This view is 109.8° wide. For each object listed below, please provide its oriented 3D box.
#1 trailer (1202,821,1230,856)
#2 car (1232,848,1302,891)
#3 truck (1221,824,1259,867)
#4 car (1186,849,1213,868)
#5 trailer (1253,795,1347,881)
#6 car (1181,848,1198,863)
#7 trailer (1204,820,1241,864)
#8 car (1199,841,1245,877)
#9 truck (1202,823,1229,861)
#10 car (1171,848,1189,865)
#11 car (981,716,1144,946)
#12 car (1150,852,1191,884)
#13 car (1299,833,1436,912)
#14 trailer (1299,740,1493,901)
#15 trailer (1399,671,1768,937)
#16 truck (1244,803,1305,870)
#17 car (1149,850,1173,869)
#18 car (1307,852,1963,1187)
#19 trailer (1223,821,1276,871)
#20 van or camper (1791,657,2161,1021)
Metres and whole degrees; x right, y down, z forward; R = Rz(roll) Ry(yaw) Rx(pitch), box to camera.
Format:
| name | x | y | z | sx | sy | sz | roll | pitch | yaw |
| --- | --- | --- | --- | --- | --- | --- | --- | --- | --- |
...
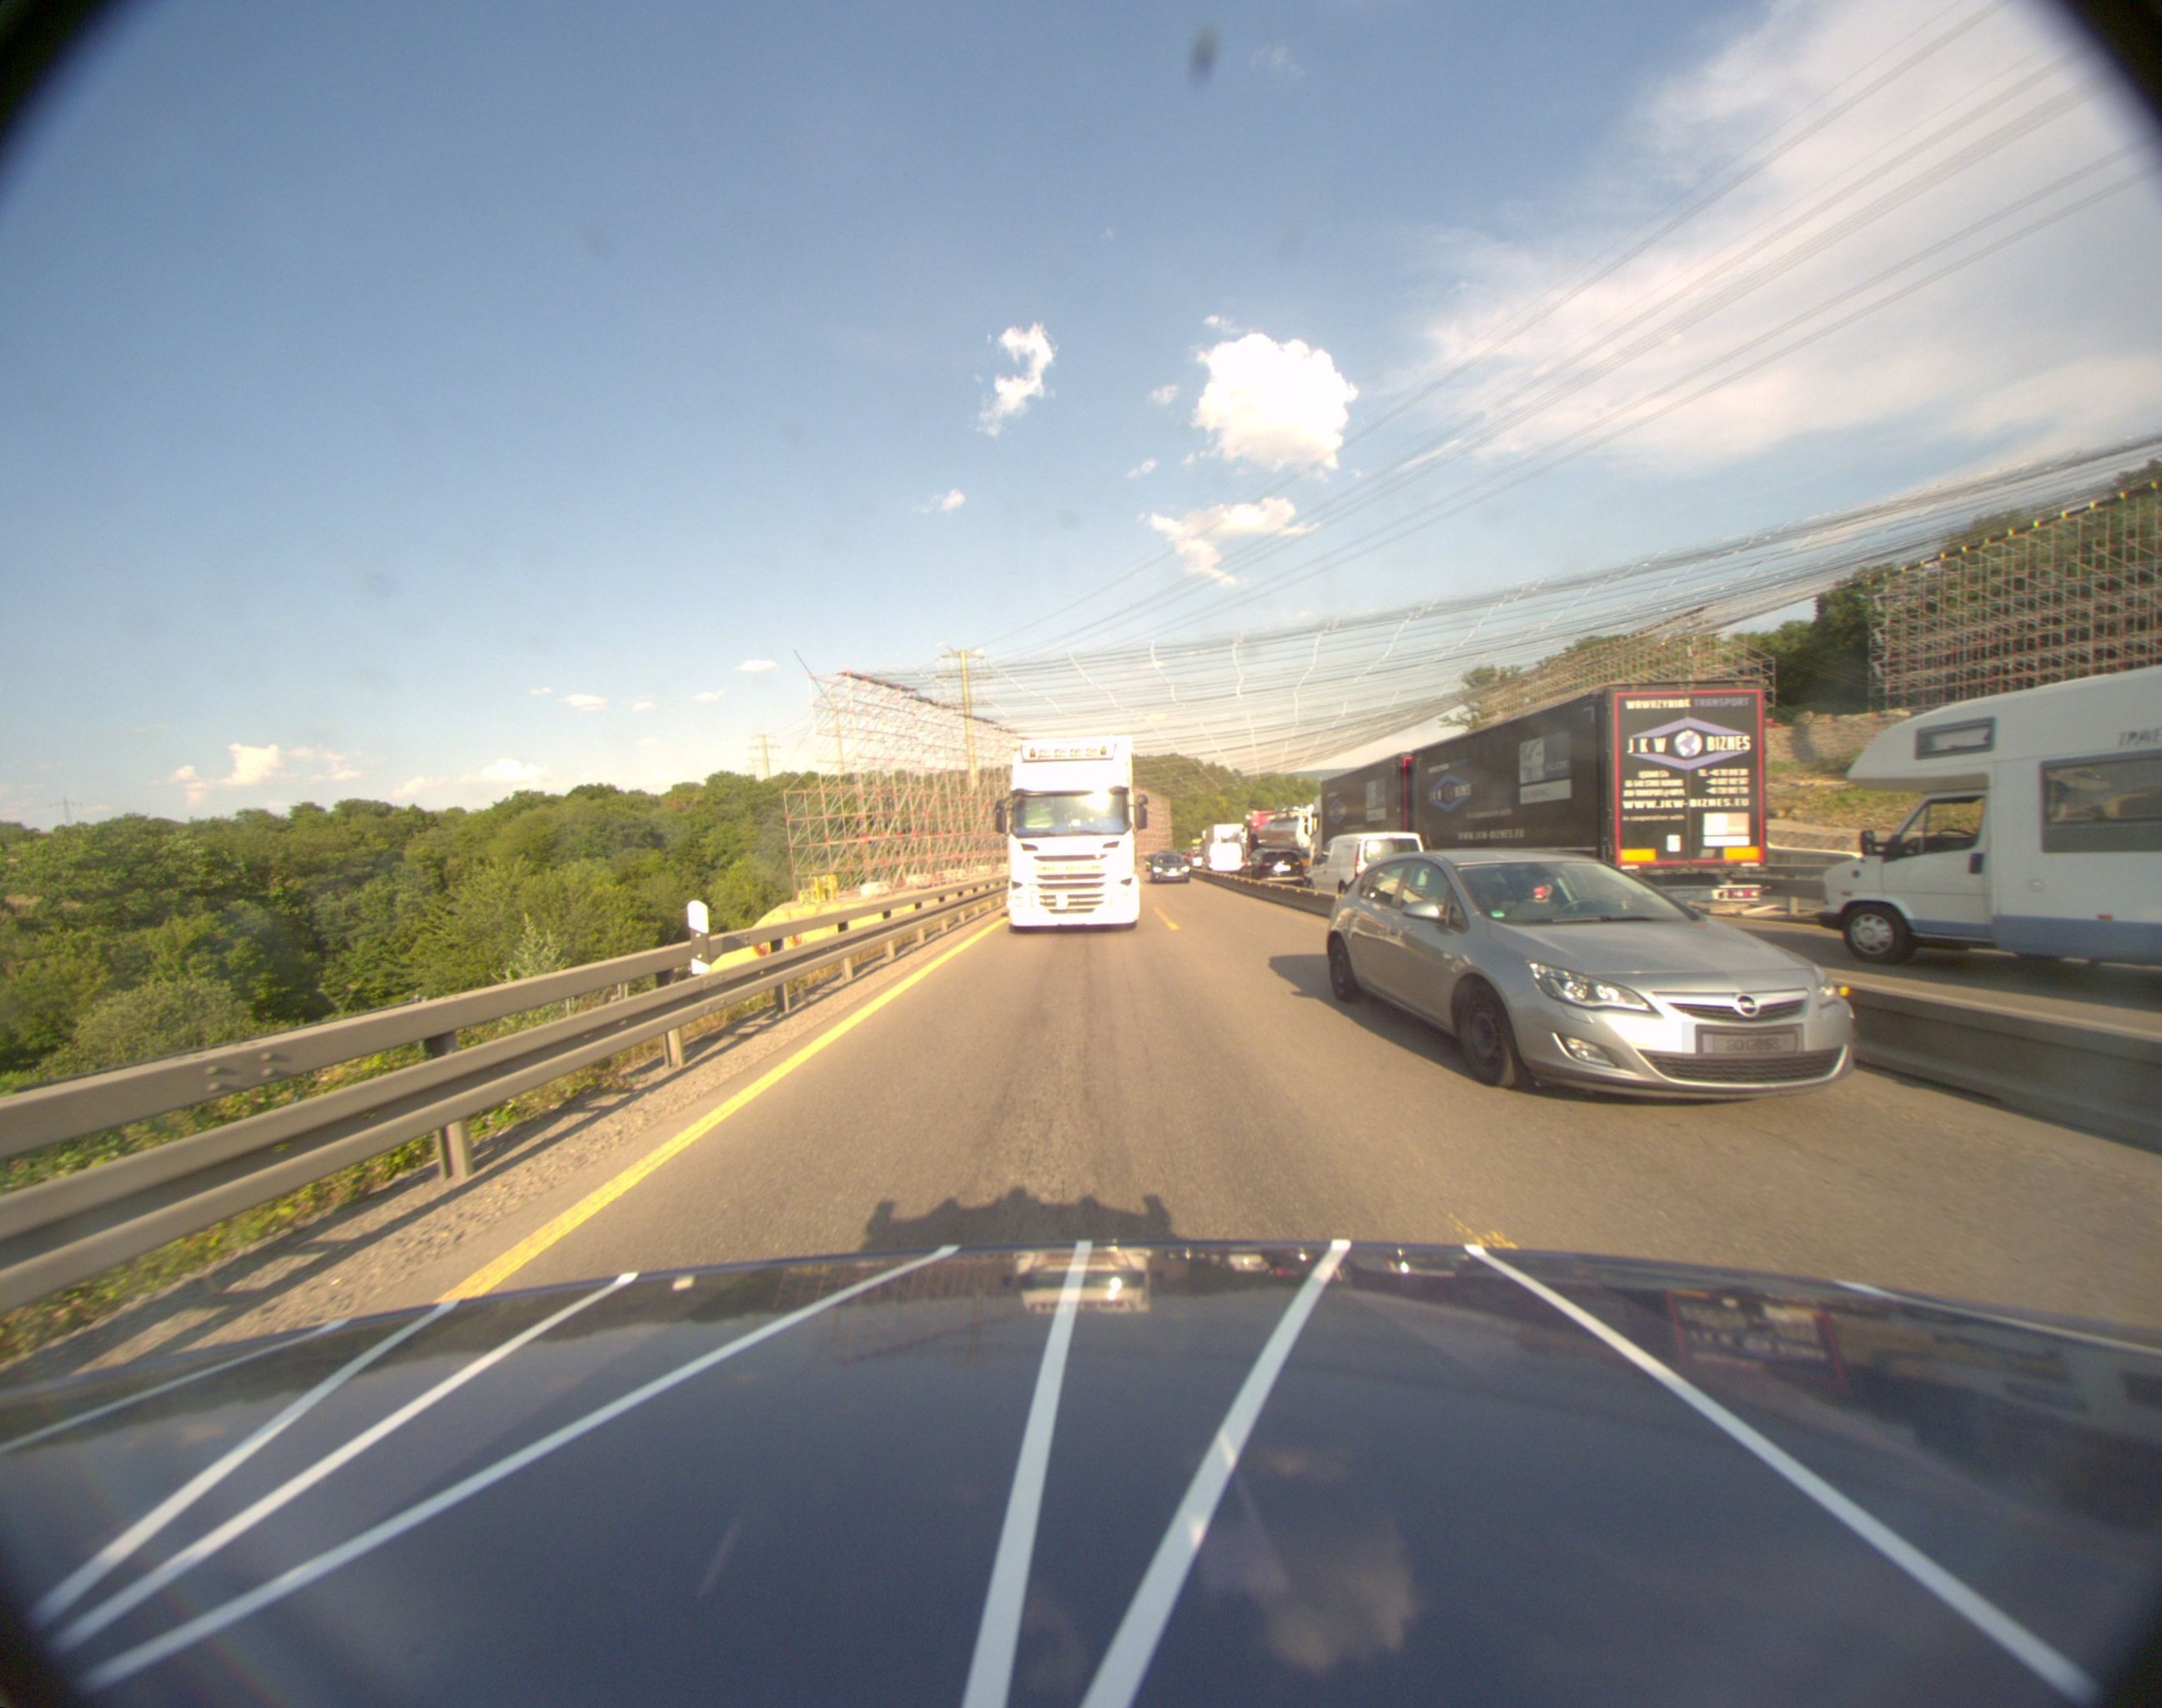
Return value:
| name | x | y | z | sx | sy | sz | roll | pitch | yaw |
| --- | --- | --- | --- | --- | --- | --- | --- | --- | --- |
| trailer | 16.980 | -1.898 | 96.191 | 2.675 | 3.992 | 13.338 | -1 | 1 | 7 |
| car | 7.016 | 0.524 | 29.145 | 1.684 | 1.470 | 4.603 | -2 | 1 | 2 |
| truck | 13.190 | -0.720 | 63.527 | 2.419 | 3.351 | 5.619 | -1 | 1 | 5 |
| car | 9.305 | 0.330 | 60.107 | 1.631 | 1.418 | 4.658 | -2 | 1 | 3 |
| trailer | 11.181 | -0.805 | 40.116 | 2.312 | 3.768 | 12.054 | -2 | 1 | 4 |
| car | 12.024 | 0.164 | 84.214 | 1.754 | 1.577 | 3.944 | -1 | 1 | 6 |
| trailer | 14.202 | -1.205 | 77.234 | 2.433 | 3.940 | 14.102 | -1 | 1 | 5 |
| car | 8.030 | 0.224 | 43.569 | 1.821 | 1.914 | 4.836 | -2 | 1 | 2 |
| truck | 14.840 | -1.360 | 84.093 | 2.478 | 4.022 | 5.619 | -1 | 1 | 6 |
| car | 9.190 | 0.218 | 70.717 | 1.510 | 1.520 | 3.587 | -2 | 1 | 4 |
| car | -0.162 | -0.461 | 17.933 | 2.858 | 4.092 | 8.281 | -2 | 1 | 2 |
| car | 4.260 | 0.649 | 36.639 | 1.764 | 1.376 | 3.823 | -2 | 1 | 4 |
| car | 6.883 | 0.375 | 18.762 | 1.761 | 1.685 | 4.453 | -2 | 1 | 1 |
| trailer | 10.069 | -0.964 | 25.905 | 2.482 | 4.304 | 10.510 | -2 | 1 | 2 |
| trailer | 9.820 | -0.841 | 16.405 | 2.449 | 4.165 | 8.543 | -2 | 1 | 1 |
| truck | 11.591 | -1.021 | 45.976 | 2.438 | 3.763 | 5.618 | -2 | 1 | 3 |
| car | 6.502 | 0.439 | 61.957 | 1.675 | 1.376 | 3.823 | -2 | 1 | 3 |
| car | 3.218 | 0.765 | 5.692 | 1.760 | 1.464 | 4.352 | -2 | 1 | 0 |
| trailer | 12.526 | -0.610 | 57.404 | 2.312 | 3.342 | 12.055 | -1 | 1 | 5 |
| van or camper | 9.734 | -0.134 | 5.336 | 2.414 | 2.875 | 7.617 | -2 | 1 | 0 |
